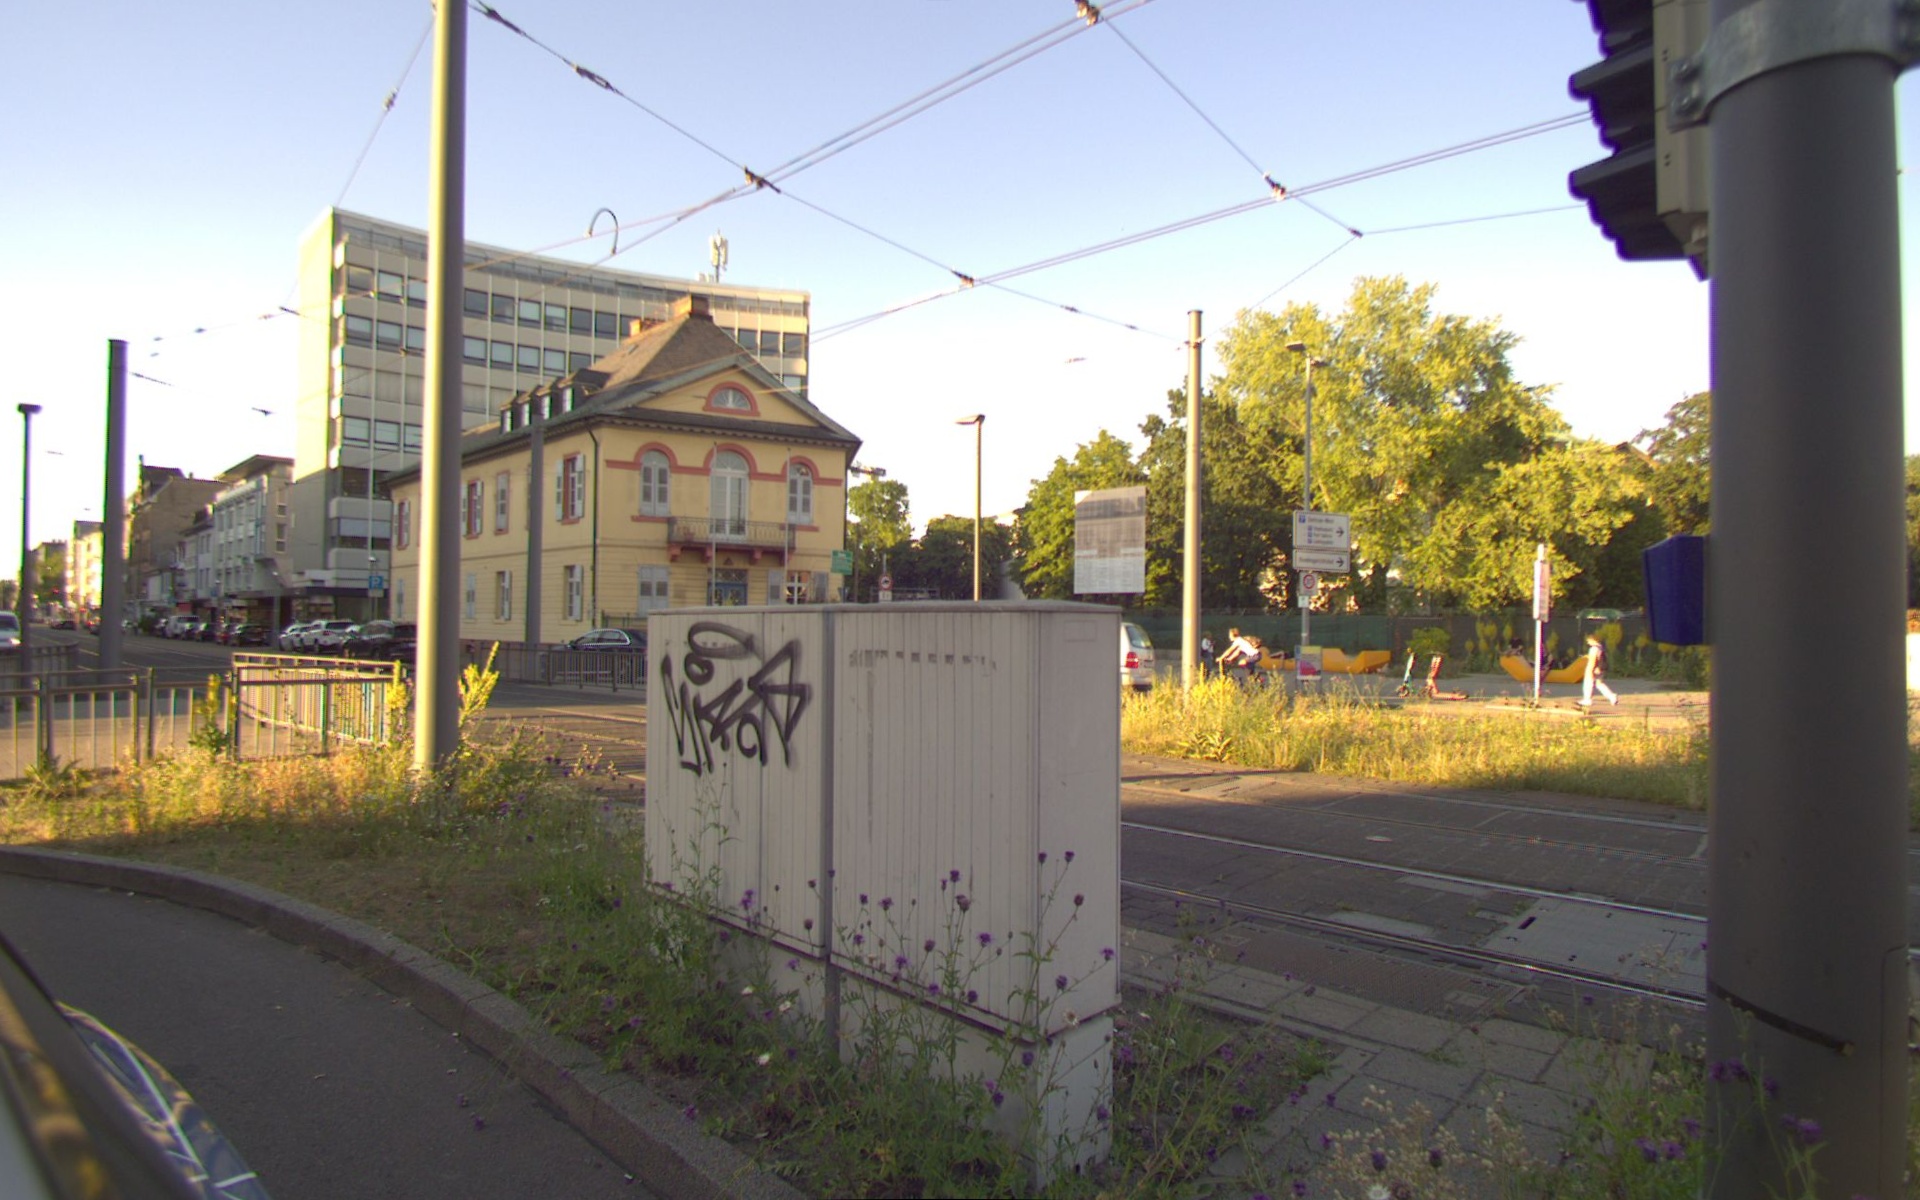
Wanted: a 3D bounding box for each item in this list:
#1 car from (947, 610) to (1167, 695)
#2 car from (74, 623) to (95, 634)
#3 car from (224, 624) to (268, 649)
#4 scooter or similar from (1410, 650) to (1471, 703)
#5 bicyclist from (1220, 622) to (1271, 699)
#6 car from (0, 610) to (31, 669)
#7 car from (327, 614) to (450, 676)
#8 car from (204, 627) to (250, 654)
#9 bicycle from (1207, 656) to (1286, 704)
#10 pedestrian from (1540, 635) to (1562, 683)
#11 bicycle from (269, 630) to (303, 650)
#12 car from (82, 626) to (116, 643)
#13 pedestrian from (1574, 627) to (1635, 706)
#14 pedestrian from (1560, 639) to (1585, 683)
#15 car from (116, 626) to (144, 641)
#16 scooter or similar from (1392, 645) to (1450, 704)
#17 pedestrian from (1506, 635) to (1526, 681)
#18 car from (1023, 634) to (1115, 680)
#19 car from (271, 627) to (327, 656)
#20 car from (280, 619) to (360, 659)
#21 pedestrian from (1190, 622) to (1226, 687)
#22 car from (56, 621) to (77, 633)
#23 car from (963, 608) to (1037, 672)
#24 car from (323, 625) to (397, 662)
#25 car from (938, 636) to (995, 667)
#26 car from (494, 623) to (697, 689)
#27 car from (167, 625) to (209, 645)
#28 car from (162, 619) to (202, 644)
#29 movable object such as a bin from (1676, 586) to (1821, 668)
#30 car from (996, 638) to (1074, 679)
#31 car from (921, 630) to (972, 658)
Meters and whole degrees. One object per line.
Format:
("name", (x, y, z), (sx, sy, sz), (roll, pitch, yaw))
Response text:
("car", (1.985, 1.030, 20.802), (4.092, 1.597, 1.982), (0, -2, 27))
("car", (-128.542, 4.153, 148.598), (1.971, 1.564, 4.002), (2, -2, -45))
("car", (-45.760, 2.336, 64.826), (1.666, 1.523, 4.218), (2, -3, -44))
("scooter or similar", (11.826, 1.871, 24.913), (1.240, 1.282, 0.516), (0, -2, 6))
("bicyclist", (6.498, 1.369, 23.029), (0.976, 1.701, 0.657), (-1, -3, 31))
("car", (-31.681, 1.263, 32.886), (1.971, 1.830, 4.002), (3, -3, -45))
("car", (-19.219, 1.475, 33.944), (4.807, 1.916, 1.974), (-1, -3, 39))
("car", (-49.444, 2.697, 68.228), (1.667, 1.523, 4.218), (15, -11, -43))
("bicycle", (6.505, 1.806, 23.001), (1.617, 1.016, 0.661), (-1, -3, 31))
("pedestrian", (20.859, 2.066, 35.733), (0.599, 1.671, 0.529), (-1, -3, 37))
("bicycle", (-49.213, 2.921, 73.900), (0.834, 1.436, 1.946), (-2, -3, 43))
("car", (-81.508, 3.238, 95.811), (4.031, 1.523, 1.717), (-1, -3, 40))
("pedestrian", (15.696, 1.605, 24.658), (0.871, 1.882, 0.978), (2, -3, -37))
("pedestrian", (21.393, 2.134, 35.346), (0.625, 1.507, 0.632), (-2, -3, 44))
("car", (-89.624, 3.582, 109.286), (1.970, 1.556, 4.882), (1, -2, -44))
("scooter or similar", (11.691, 1.881, 25.685), (1.236, 1.457, 0.518), (1, -2, -8))
("pedestrian", (20.291, 2.103, 36.957), (0.597, 1.671, 0.531), (-1, -3, 26))
("car", (3.710, 1.940, 35.182), (1.967, 1.497, 4.010), (1, -2, -13))
("car", (-35.993, 2.233, 55.046), (1.791, 1.523, 4.436), (3, -3, -43))
("car", (-31.815, 1.928, 50.276), (4.488, 1.799, 1.797), (-1, 1, 35))
("pedestrian", (7.344, 1.613, 29.995), (0.717, 1.907, 0.768), (1, -2, -21))
("car", (-119.896, 3.653, 135.797), (1.970, 1.564, 4.003), (2, -3, -44))
("car", (1.708, 1.782, 45.355), (2.063, 2.650, 5.438), (1, -2, -12))
("car", (-27.836, 1.978, 46.919), (4.214, 1.629, 1.793), (-1, -3, 43))
("car", (0.293, 2.556, 50.945), (1.967, 1.497, 4.104), (1, -2, -13))
("car", (-9.284, 1.426, 26.091), (4.520, 1.597, 2.001), (1, -2, -2))
("car", (-60.953, 2.753, 79.851), (4.560, 1.477, 1.971), (-2, -2, 44))
("car", (-65.919, 2.654, 85.670), (5.164, 1.992, 1.933), (-2, -3, 44))
("movable object such as a bin", (33.148, 1.158, 42.669), (1.966, 3.254, 4.357), (2, -2, -31))
("car", (2.891, 2.269, 39.901), (1.967, 1.497, 4.104), (1, -2, -13))
("car", (-0.787, 2.394, 55.584), (1.967, 1.497, 4.104), (1, -2, -13))
